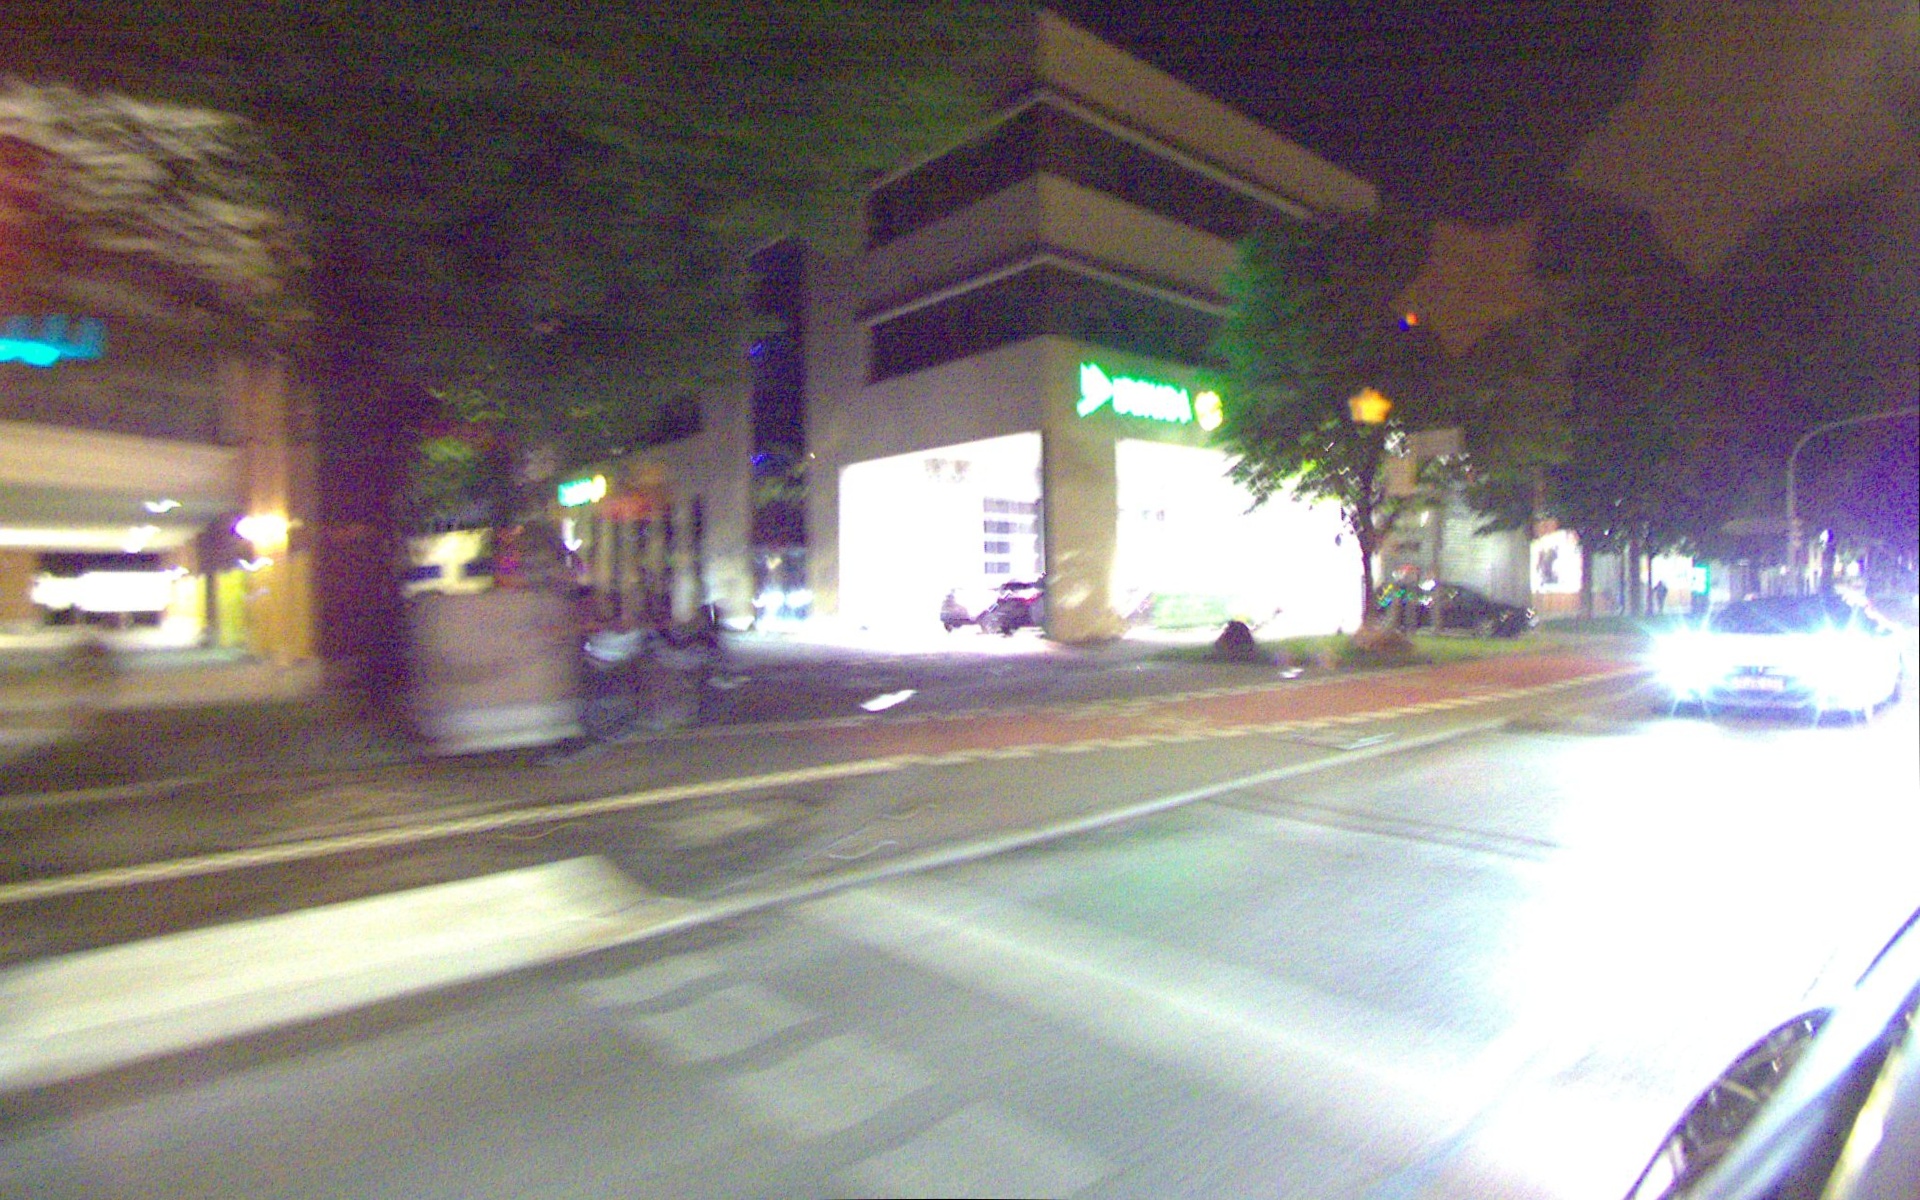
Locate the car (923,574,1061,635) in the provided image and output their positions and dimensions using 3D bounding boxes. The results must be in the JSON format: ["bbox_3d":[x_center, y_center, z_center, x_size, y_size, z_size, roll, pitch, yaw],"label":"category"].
[{"bbox_3d":[0.983,0.072,29.358,3.933,1.615,1.729,-2,2,-43],"label":"car"}]

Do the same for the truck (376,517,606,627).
[{"bbox_3d":[-20.887,-1.187,43.927,16.777,4.033,3.084,1,2,44],"label":"truck"}]

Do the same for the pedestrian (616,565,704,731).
[{"bbox_3d":[-3.120,0.468,10.516,0.667,1.659,0.622,-1,1,-41],"label":"pedestrian"}]

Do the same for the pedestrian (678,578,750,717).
[{"bbox_3d":[-2.858,0.529,11.763,0.622,1.553,0.573,-1,1,-41],"label":"pedestrian"}]

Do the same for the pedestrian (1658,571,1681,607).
[{"bbox_3d":[35.302,-0.555,50.345,0.968,1.738,0.736,-1,1,-41],"label":"pedestrian"}]

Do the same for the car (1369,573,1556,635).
[{"bbox_3d":[13.185,0.048,26.725,1.756,1.472,4.088,-2,2,-41],"label":"car"}]

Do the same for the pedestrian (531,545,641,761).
[{"bbox_3d":[-3.341,0.437,9.041,0.746,1.834,0.623,-1,1,-41],"label":"pedestrian"}]

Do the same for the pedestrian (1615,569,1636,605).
[{"bbox_3d":[33.966,-0.664,51.650,0.890,1.839,0.675,-1,1,-41],"label":"pedestrian"}]

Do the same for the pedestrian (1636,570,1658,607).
[{"bbox_3d":[34.646,-0.594,51.046,0.953,1.811,0.720,-1,1,-41],"label":"pedestrian"}]

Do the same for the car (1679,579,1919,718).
[{"bbox_3d":[10.816,0.495,12.863,4.420,1.448,1.727,-2,0,-41],"label":"car"}]

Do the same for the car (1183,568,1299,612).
[{"bbox_3d":[10.665,-0.385,38.593,1.687,1.585,3.953,-2,2,-43],"label":"car"}]
